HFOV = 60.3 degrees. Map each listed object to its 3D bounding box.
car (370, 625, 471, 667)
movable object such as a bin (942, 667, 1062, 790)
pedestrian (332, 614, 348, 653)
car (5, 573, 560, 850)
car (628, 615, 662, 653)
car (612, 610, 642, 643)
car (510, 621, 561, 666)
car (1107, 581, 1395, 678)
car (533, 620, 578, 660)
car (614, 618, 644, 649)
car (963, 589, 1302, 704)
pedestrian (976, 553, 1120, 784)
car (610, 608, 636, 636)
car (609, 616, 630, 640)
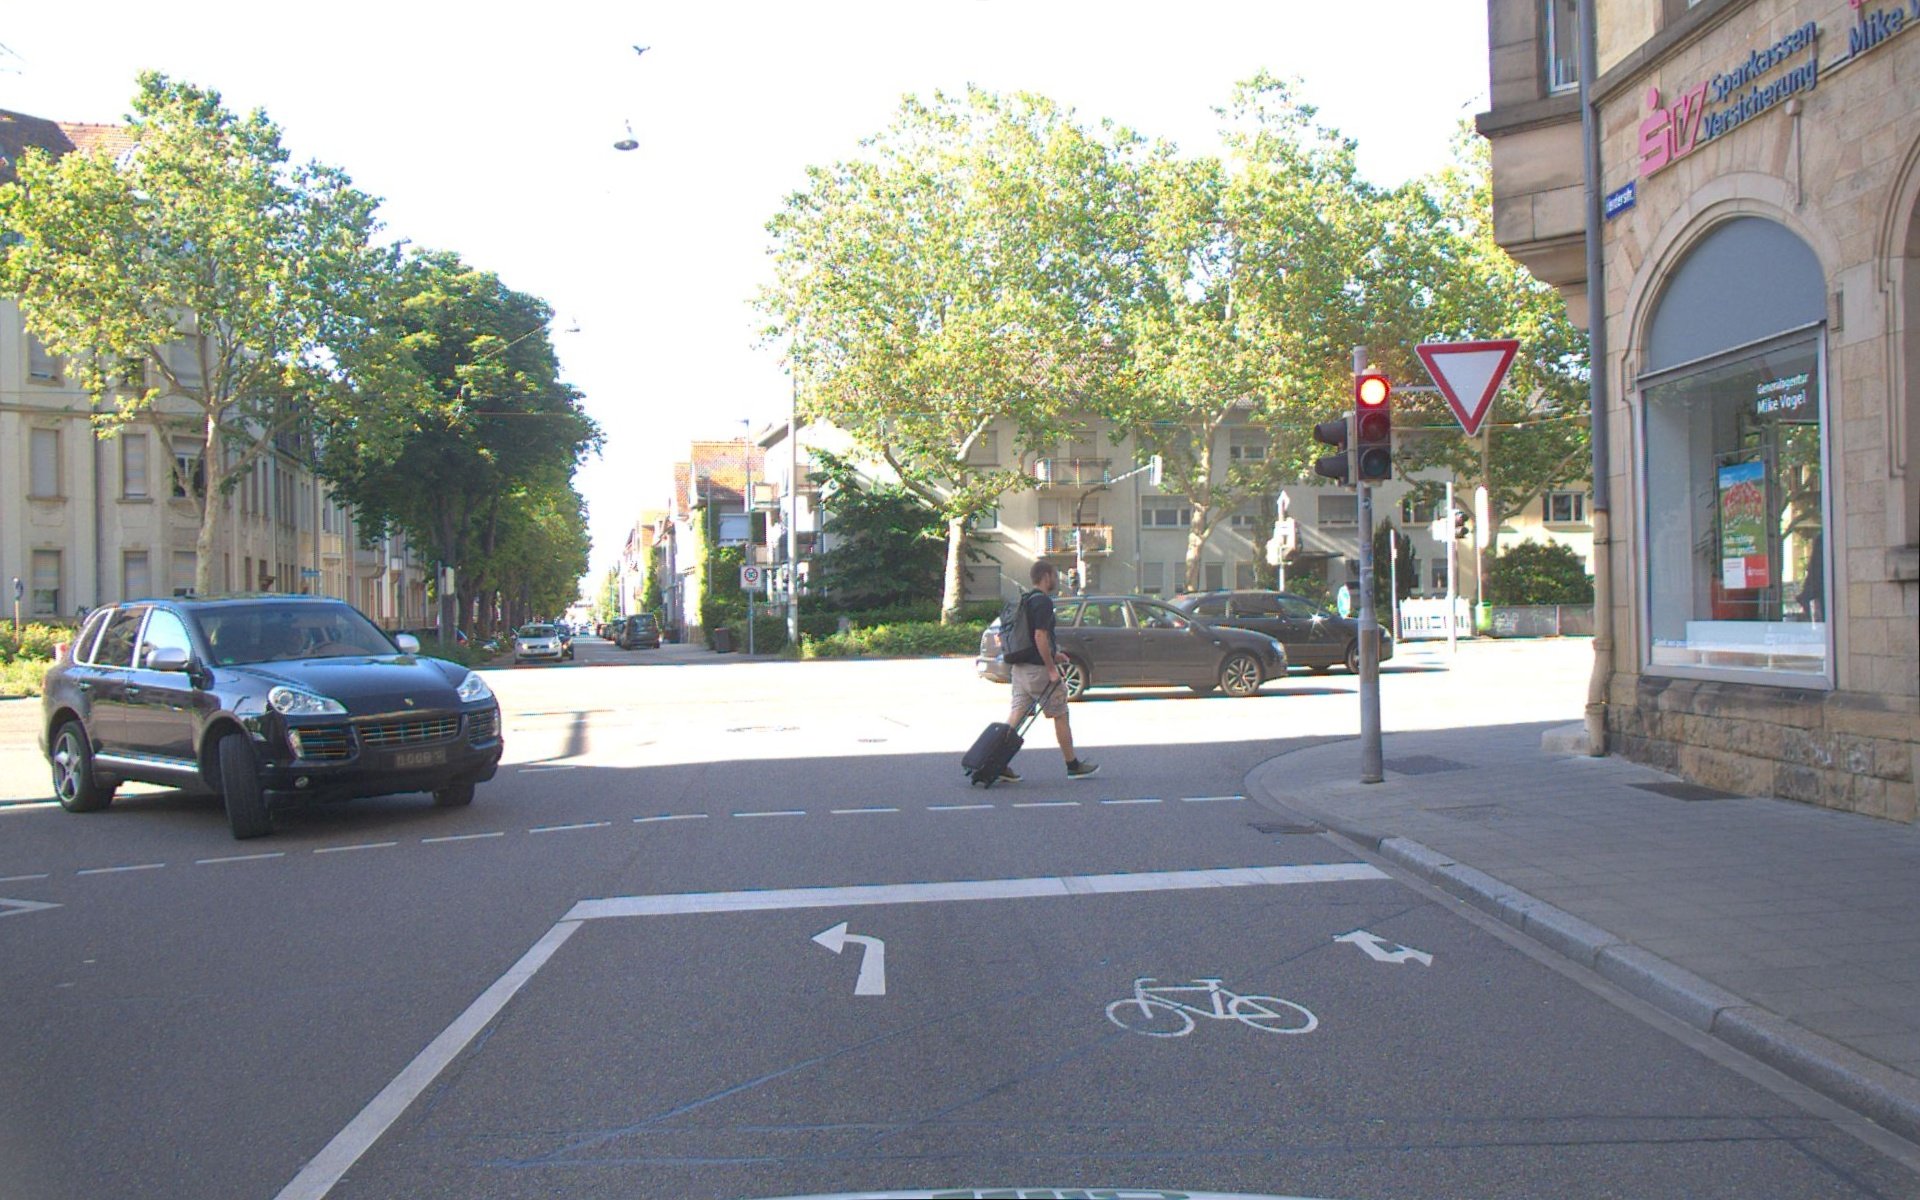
[{"bbox_3d":[-20.448,1.736,62.813,3.572,1.483,1.650,-1,0,-16],"label":"car"},{"bbox_3d":[0.336,1.024,13.343,0.847,0.907,0.508,-2,0,-13],"label":"movable object such as a bin"},{"bbox_3d":[-23.981,1.284,63.965,0.480,1.467,0.702,1,-1,-16],"label":"pedestrian"},{"bbox_3d":[-5.455,0.782,13.051,4.620,1.723,2.069,-2,1,40],"label":"car"},{"bbox_3d":[-17.978,1.919,94.224,1.742,1.952,3.523,-3,0,-12],"label":"car"},{"bbox_3d":[-21.011,1.655,104.297,1.742,1.952,3.523,-3,0,-12],"label":"car"},{"bbox_3d":[-16.168,1.636,63.084,1.669,1.509,3.523,-3,1,-12],"label":"car"},{"bbox_3d":[5.029,0.482,28.803,4.539,1.482,1.974,-2,0,-14],"label":"car"},{"bbox_3d":[-16.869,1.653,69.114,1.669,1.509,3.523,-3,1,-12],"label":"car"},{"bbox_3d":[-23.086,2.308,115.281,1.958,2.049,3.988,1,0,-12],"label":"car"},{"bbox_3d":[2.434,0.630,23.695,4.537,1.482,1.725,-1,0,-12],"label":"car"},{"bbox_3d":[0.729,0.552,13.925,1.047,1.881,0.746,0,0,-13],"label":"pedestrian"},{"bbox_3d":[-25.974,1.696,127.489,1.958,2.049,3.988,1,0,-12],"label":"car"},{"bbox_3d":[-30.043,2.454,145.942,1.742,1.952,3.523,-3,0,-12],"label":"car"}]
